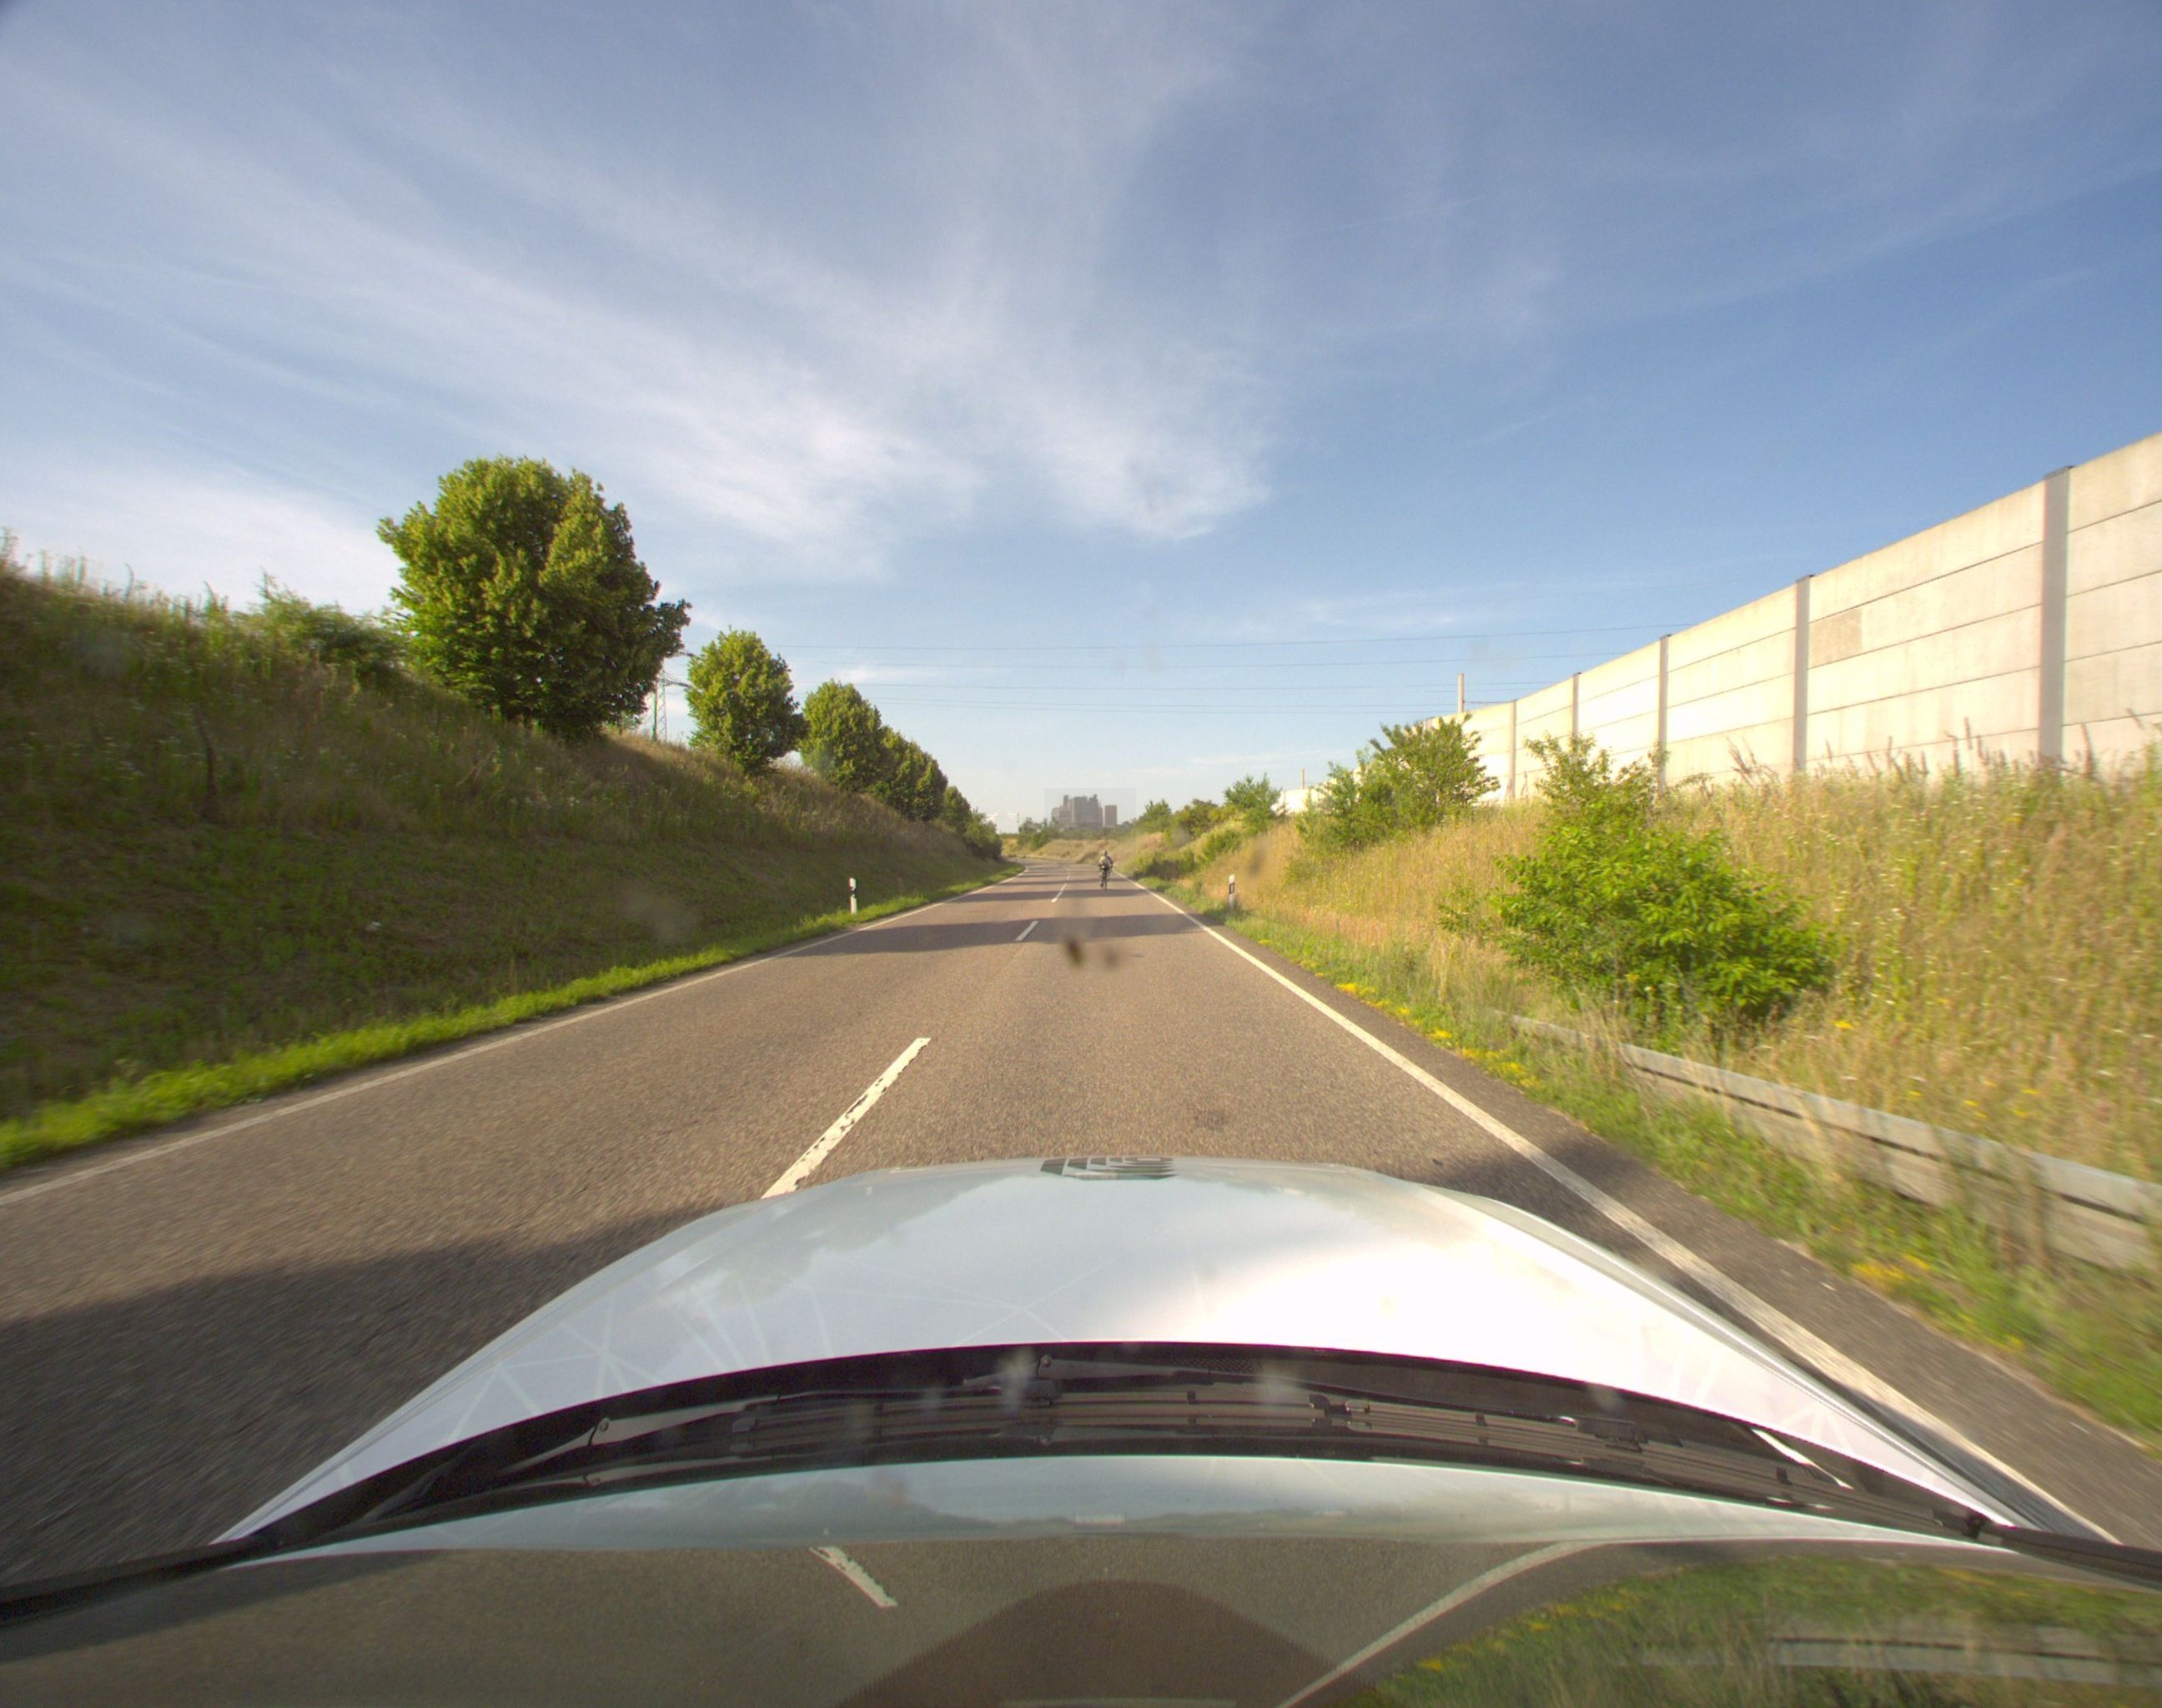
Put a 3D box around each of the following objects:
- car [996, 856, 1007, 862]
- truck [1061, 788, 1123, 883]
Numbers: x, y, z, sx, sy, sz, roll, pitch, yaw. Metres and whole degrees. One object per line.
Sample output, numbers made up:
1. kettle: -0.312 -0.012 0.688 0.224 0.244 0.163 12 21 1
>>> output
1. car: -20.556 1.227 211.073 2.038 1.581 4.363 0 0 3
2. truck: 0.745 -0.996 49.725 3.279 5.090 12.040 -1 0 1
